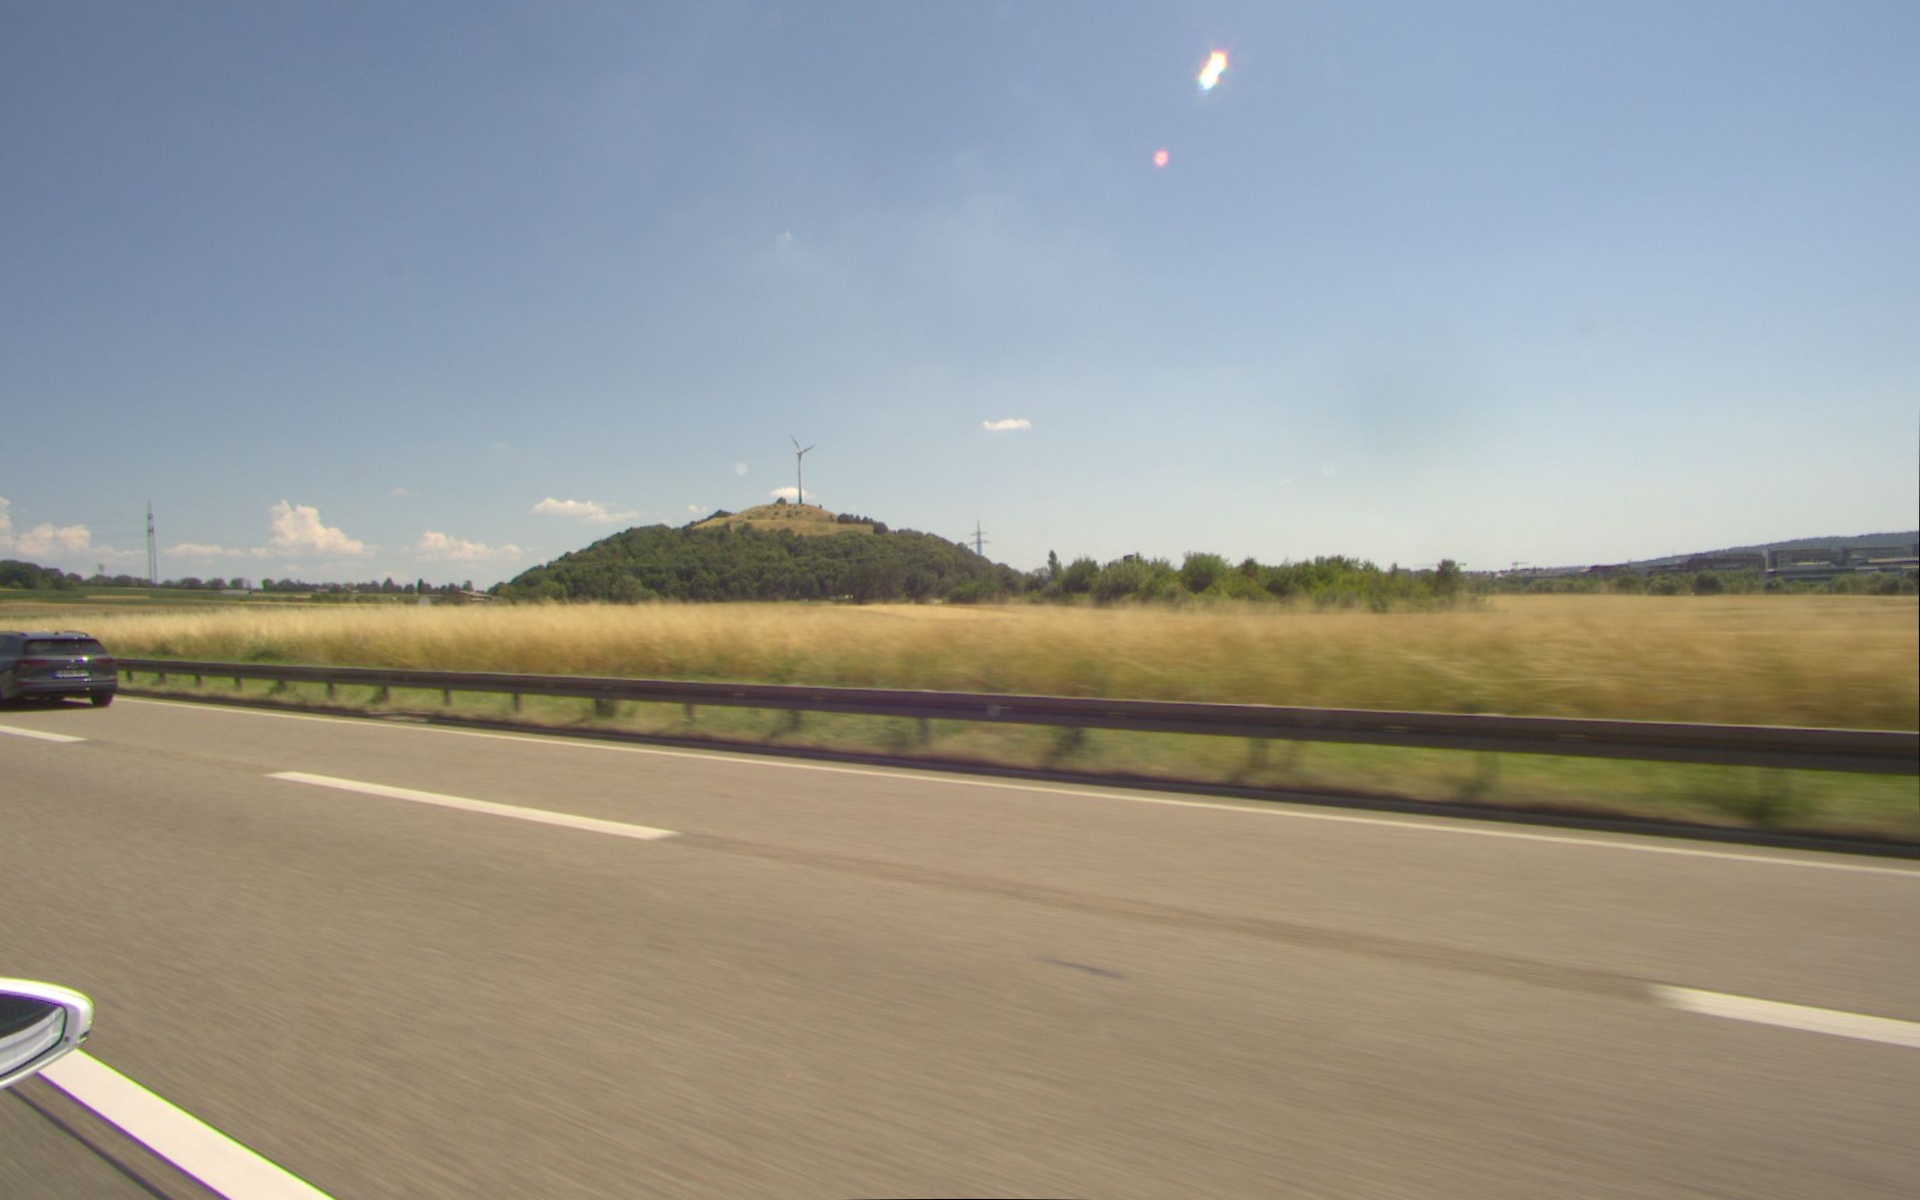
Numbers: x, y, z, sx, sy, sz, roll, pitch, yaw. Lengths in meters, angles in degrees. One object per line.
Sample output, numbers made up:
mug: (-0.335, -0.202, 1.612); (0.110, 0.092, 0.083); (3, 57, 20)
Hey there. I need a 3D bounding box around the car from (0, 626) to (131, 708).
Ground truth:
car: (-18.475, 1.284, 19.991); (4.473, 1.489, 1.758); (-1, -2, 34)
